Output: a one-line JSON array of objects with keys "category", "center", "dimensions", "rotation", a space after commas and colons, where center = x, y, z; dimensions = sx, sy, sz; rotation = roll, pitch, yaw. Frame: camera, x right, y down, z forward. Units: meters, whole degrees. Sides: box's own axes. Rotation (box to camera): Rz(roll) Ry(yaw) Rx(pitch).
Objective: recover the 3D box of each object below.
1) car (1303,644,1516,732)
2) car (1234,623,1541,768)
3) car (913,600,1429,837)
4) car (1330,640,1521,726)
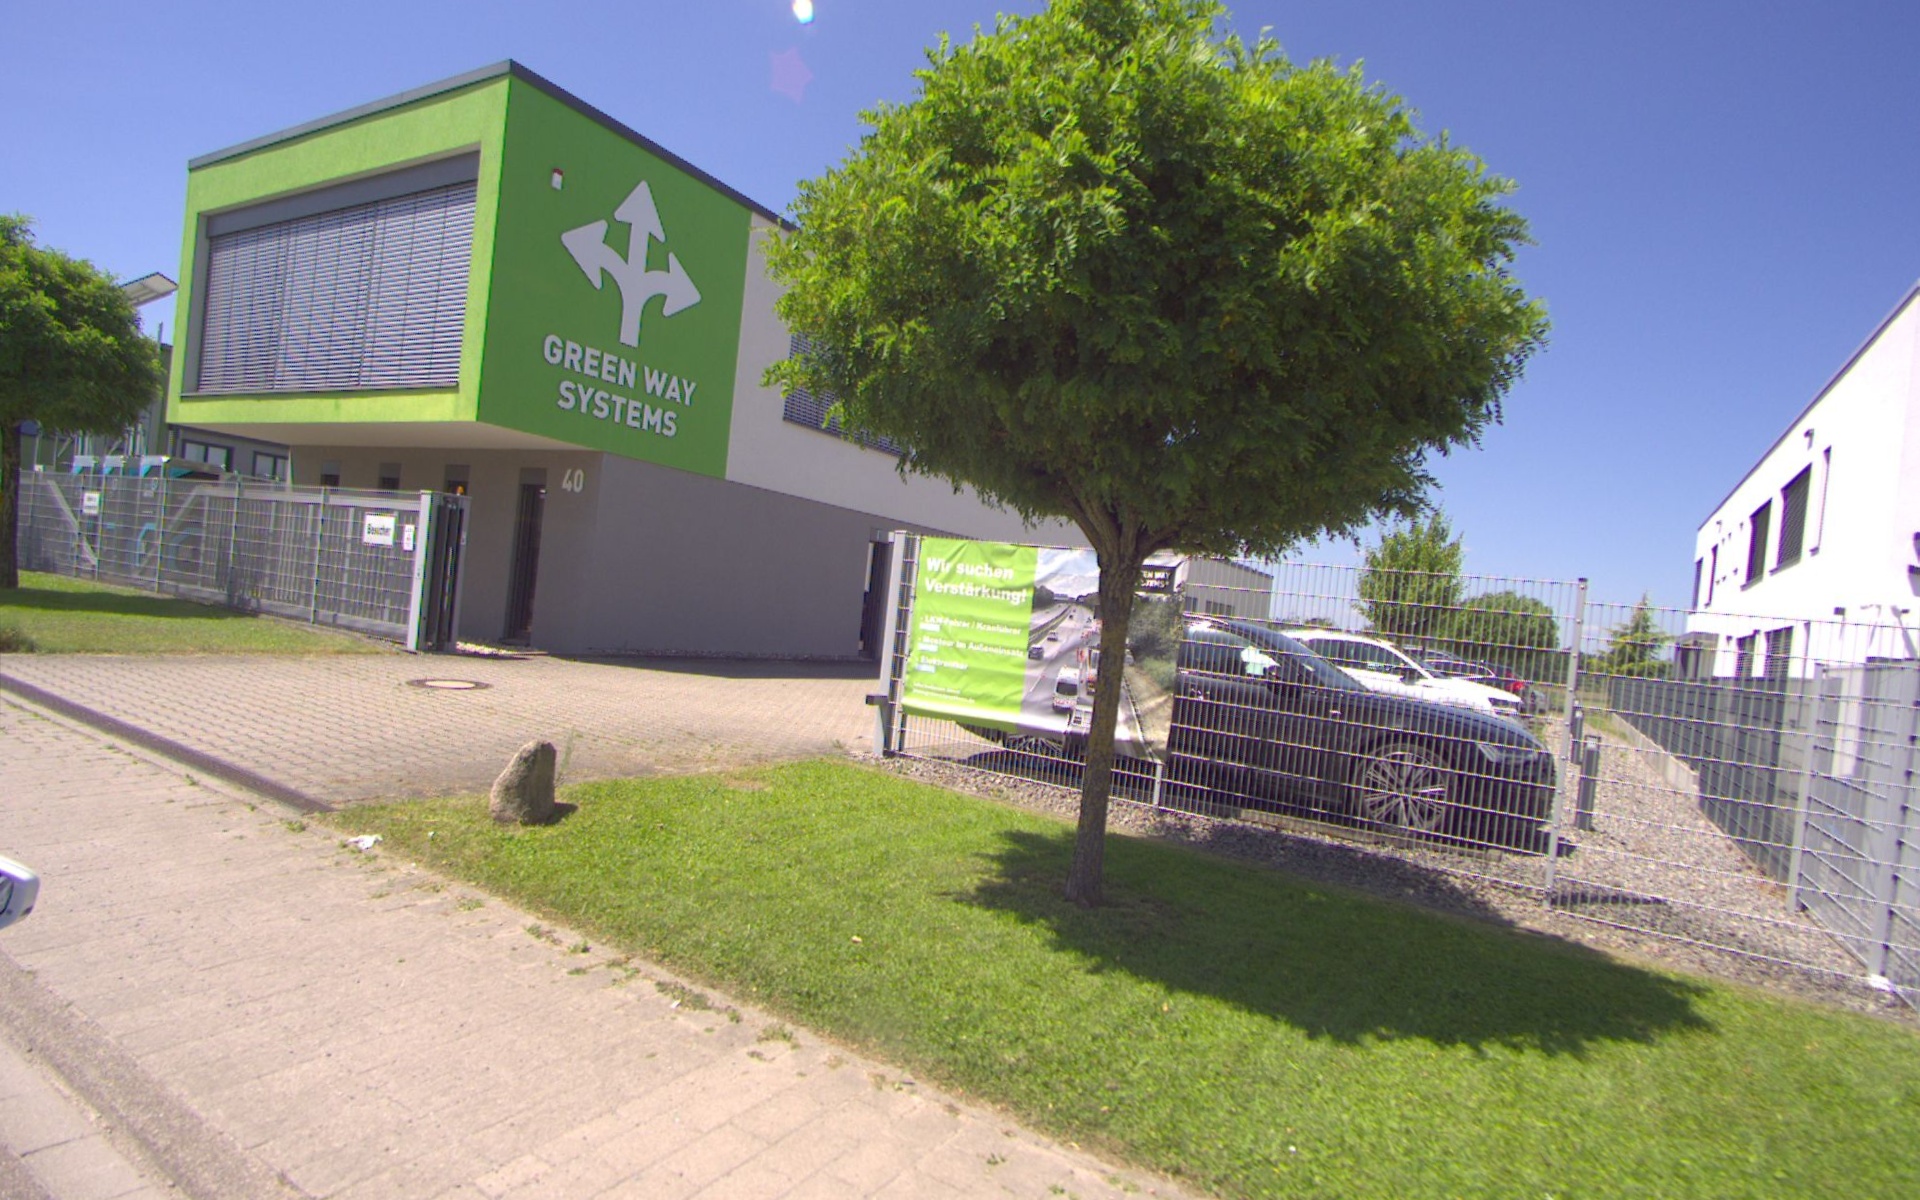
[{"category": "car", "center": [9.787, 1.878, 21.973], "dimensions": [3.989, 1.448, 1.740], "rotation": [4, -1, 31]}, {"category": "car", "center": [6.436, 1.360, 15.262], "dimensions": [3.989, 1.656, 1.740], "rotation": [4, -1, 31]}, {"category": "car", "center": [1.767, 0.883, 8.793], "dimensions": [3.989, 1.415, 1.740], "rotation": [4, -1, 31]}, {"category": "car", "center": [11.315, 1.972, 24.514], "dimensions": [3.989, 1.624, 1.740], "rotation": [4, -1, 31]}]
